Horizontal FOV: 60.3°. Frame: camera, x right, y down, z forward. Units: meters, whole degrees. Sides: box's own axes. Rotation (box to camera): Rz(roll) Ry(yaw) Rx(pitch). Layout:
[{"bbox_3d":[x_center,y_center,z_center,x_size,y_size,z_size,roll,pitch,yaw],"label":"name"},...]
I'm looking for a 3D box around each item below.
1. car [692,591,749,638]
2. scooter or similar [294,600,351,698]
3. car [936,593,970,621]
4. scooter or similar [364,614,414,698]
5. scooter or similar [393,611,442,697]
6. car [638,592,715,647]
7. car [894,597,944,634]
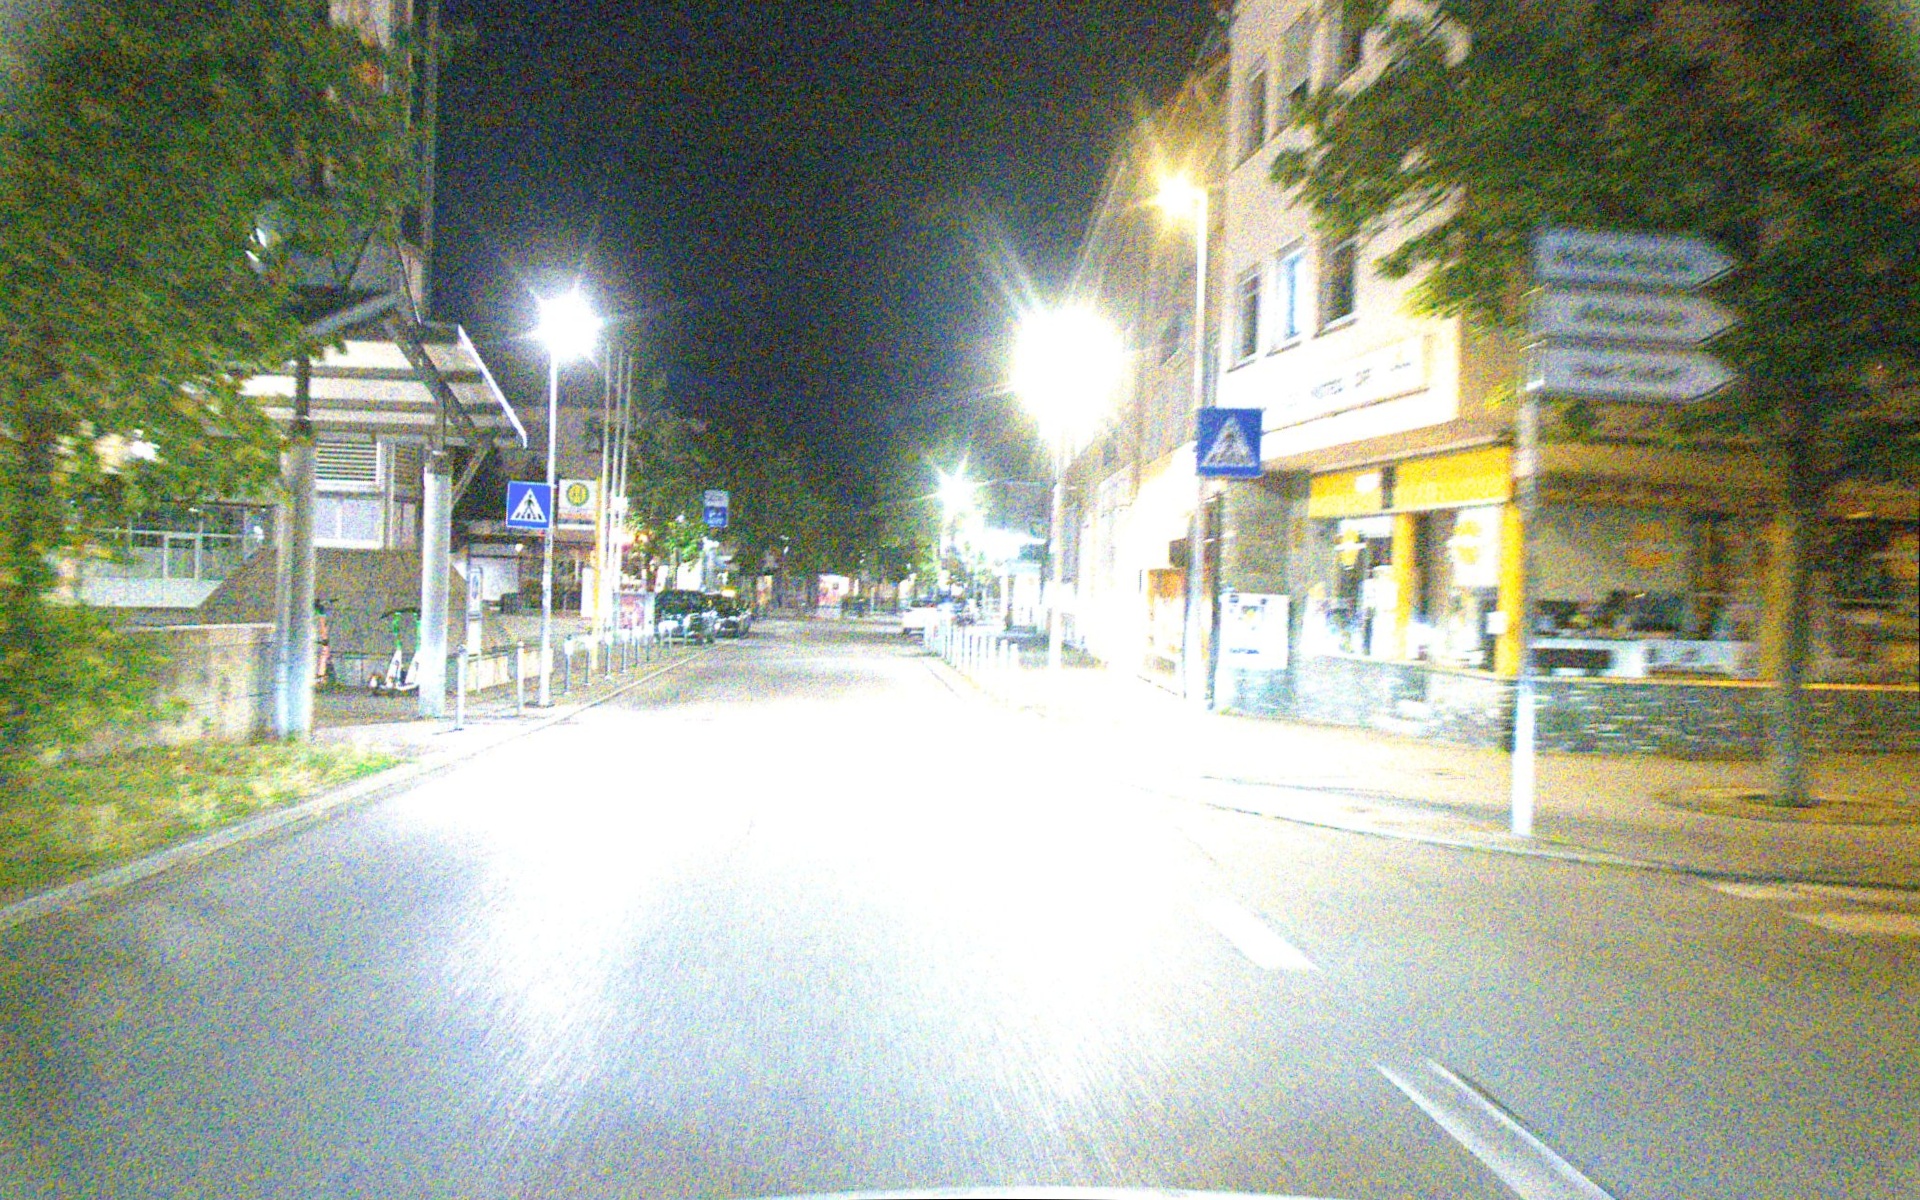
[{"bbox_3d":[-8.412,0.471,57.885,1.801,1.478,3.990,0,1,-11],"label":"car"},{"bbox_3d":[-8.919,0.673,23.177,0.421,1.307,1.146,0,1,-4],"label":"scooter or similar"},{"bbox_3d":[-0.421,0.395,96.963,1.676,1.574,3.536,0,1,-5],"label":"car"},{"bbox_3d":[-8.045,0.774,23.315,0.421,1.125,1.003,0,1,-4],"label":"scooter or similar"},{"bbox_3d":[-7.637,0.750,23.302,0.421,1.154,1.003,0,1,-4],"label":"scooter or similar"},{"bbox_3d":[-8.071,0.547,47.381,1.798,1.478,3.996,0,0,-5],"label":"car"},{"bbox_3d":[-1.713,0.608,67.658,1.798,1.382,3.996,0,1,-5],"label":"car"}]
